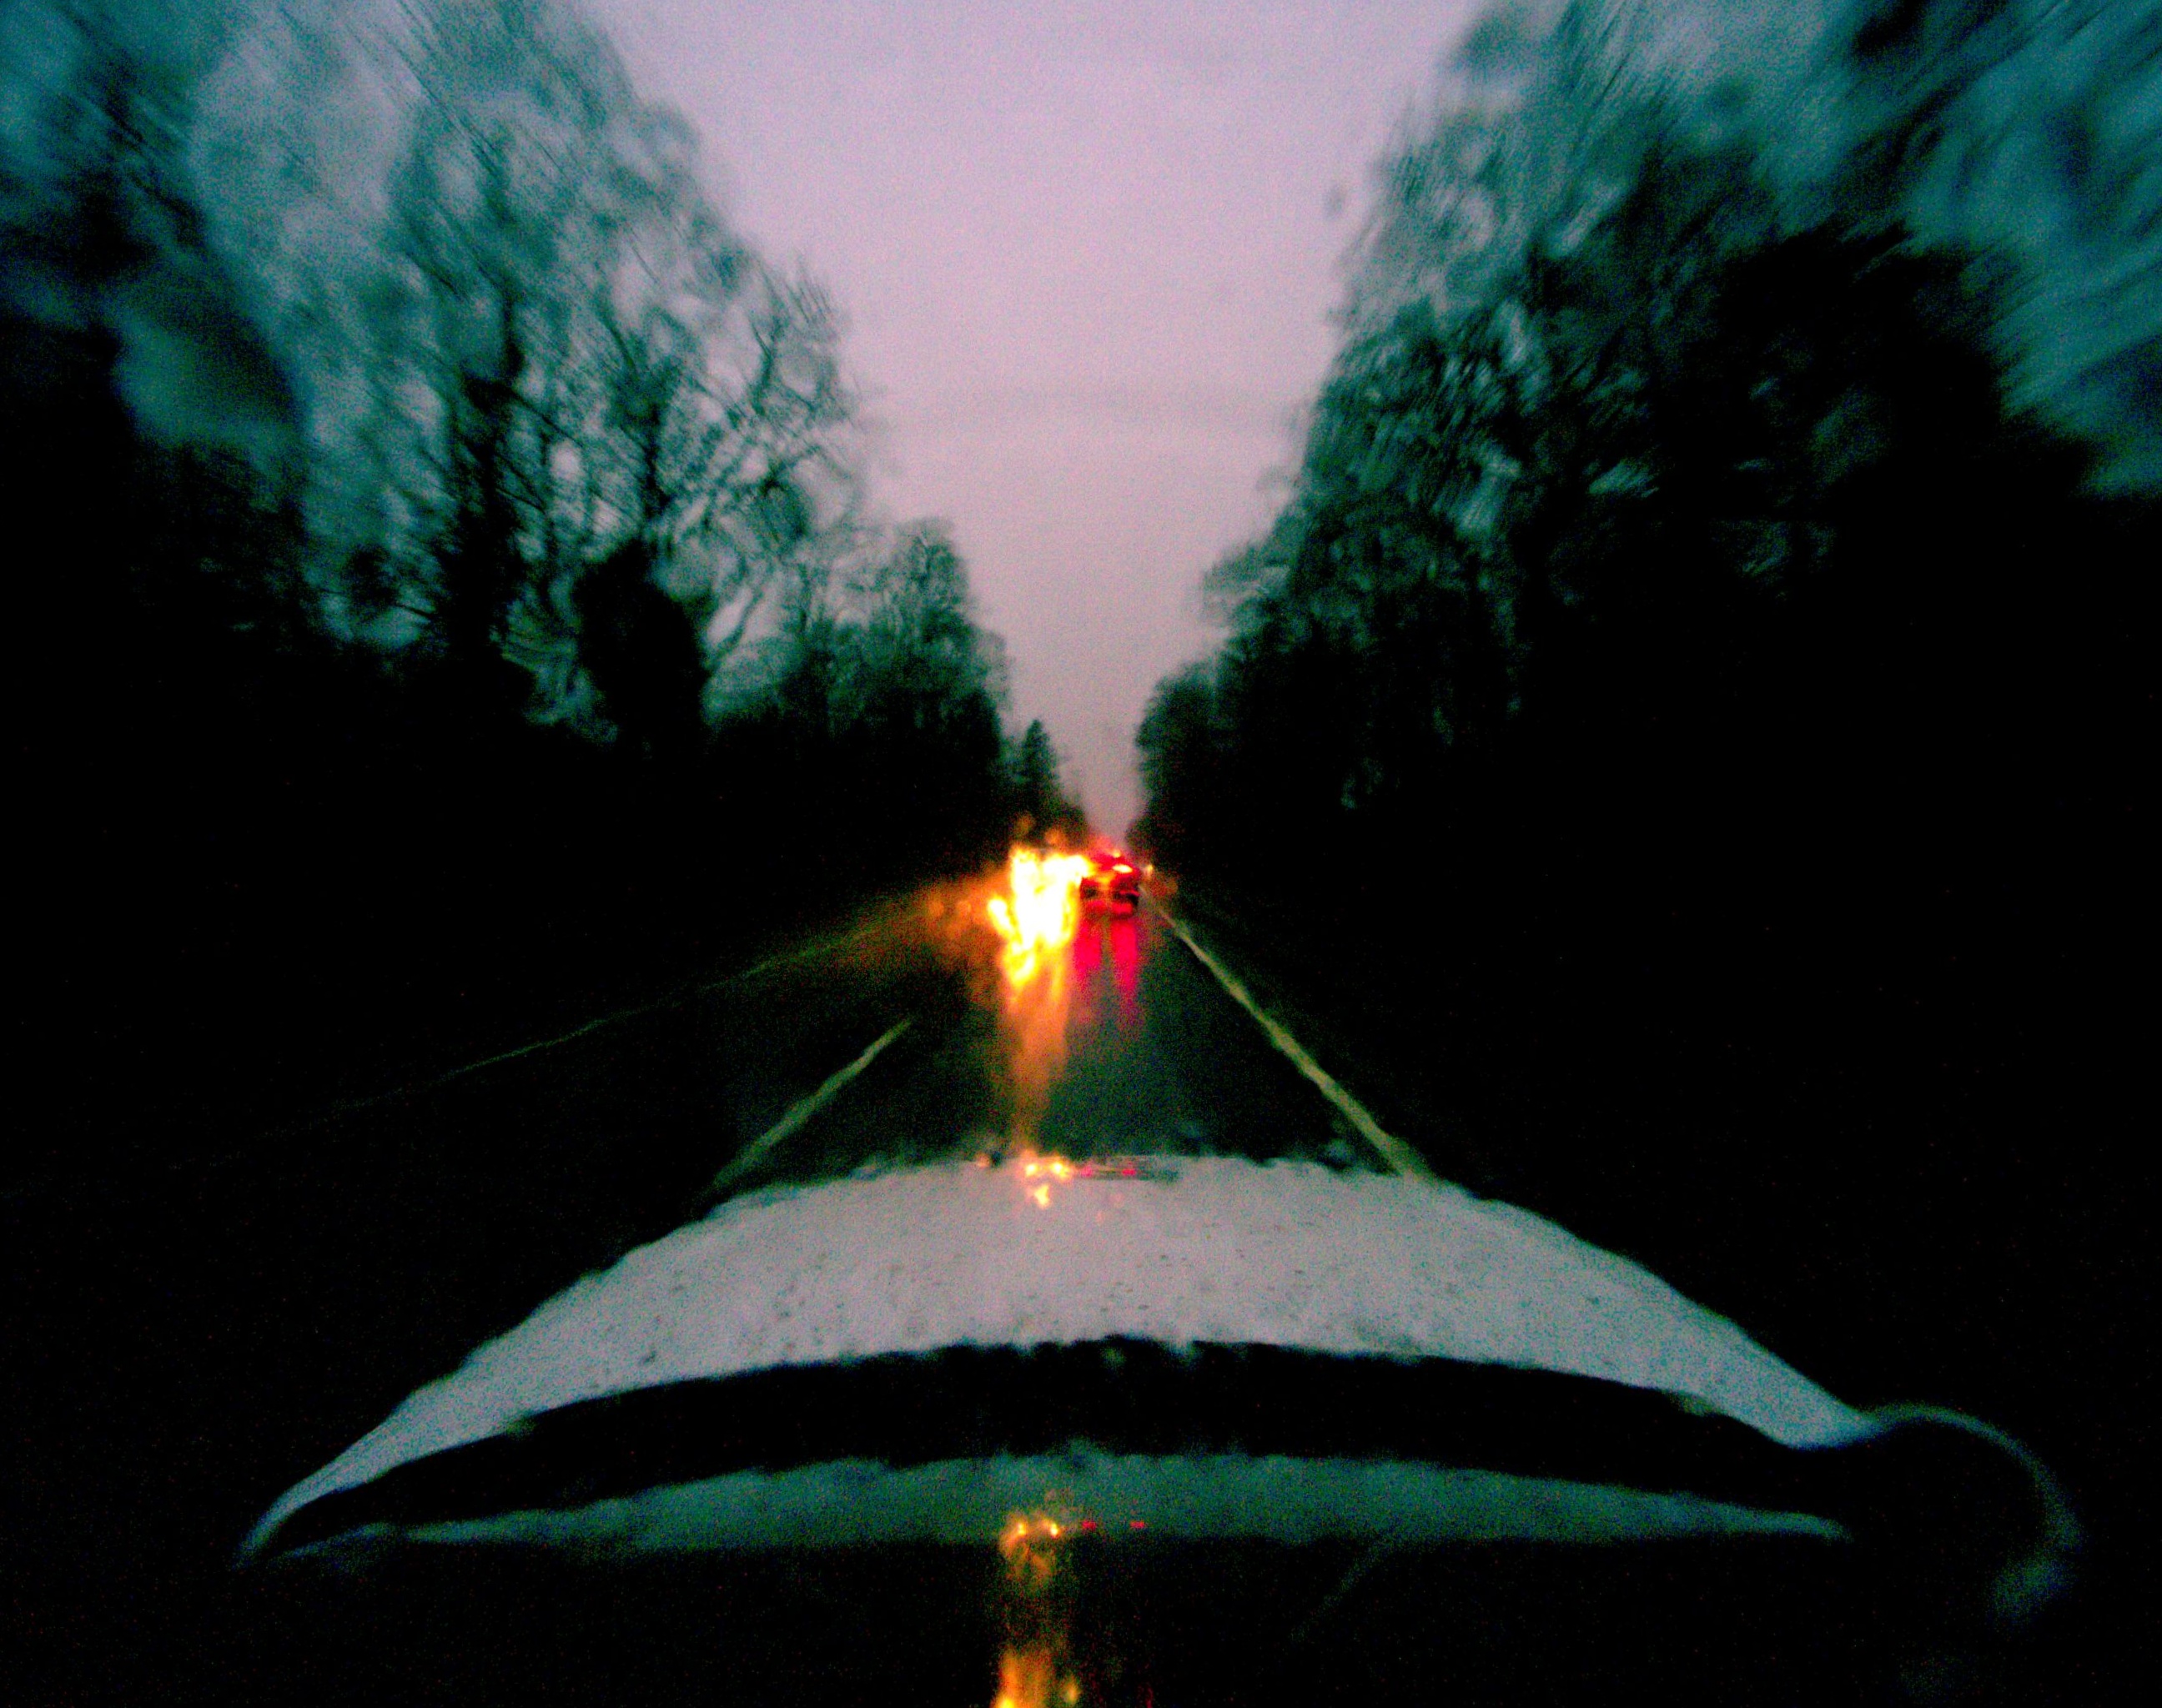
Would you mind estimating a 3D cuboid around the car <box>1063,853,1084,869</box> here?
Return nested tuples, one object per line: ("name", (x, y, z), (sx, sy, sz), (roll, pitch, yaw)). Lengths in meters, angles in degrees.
("car", (-0.721, 0.691, 80.048), (1.747, 1.457, 3.639), (-4, 0, 2))

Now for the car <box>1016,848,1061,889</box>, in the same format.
("car", (-2.279, 0.749, 44.746), (2.000, 1.989, 5.032), (-4, 0, 1))

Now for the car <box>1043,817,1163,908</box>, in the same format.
("car", (0.729, 0.227, 24.977), (3.171, 2.386, 6.640), (-1, 0, 2))
